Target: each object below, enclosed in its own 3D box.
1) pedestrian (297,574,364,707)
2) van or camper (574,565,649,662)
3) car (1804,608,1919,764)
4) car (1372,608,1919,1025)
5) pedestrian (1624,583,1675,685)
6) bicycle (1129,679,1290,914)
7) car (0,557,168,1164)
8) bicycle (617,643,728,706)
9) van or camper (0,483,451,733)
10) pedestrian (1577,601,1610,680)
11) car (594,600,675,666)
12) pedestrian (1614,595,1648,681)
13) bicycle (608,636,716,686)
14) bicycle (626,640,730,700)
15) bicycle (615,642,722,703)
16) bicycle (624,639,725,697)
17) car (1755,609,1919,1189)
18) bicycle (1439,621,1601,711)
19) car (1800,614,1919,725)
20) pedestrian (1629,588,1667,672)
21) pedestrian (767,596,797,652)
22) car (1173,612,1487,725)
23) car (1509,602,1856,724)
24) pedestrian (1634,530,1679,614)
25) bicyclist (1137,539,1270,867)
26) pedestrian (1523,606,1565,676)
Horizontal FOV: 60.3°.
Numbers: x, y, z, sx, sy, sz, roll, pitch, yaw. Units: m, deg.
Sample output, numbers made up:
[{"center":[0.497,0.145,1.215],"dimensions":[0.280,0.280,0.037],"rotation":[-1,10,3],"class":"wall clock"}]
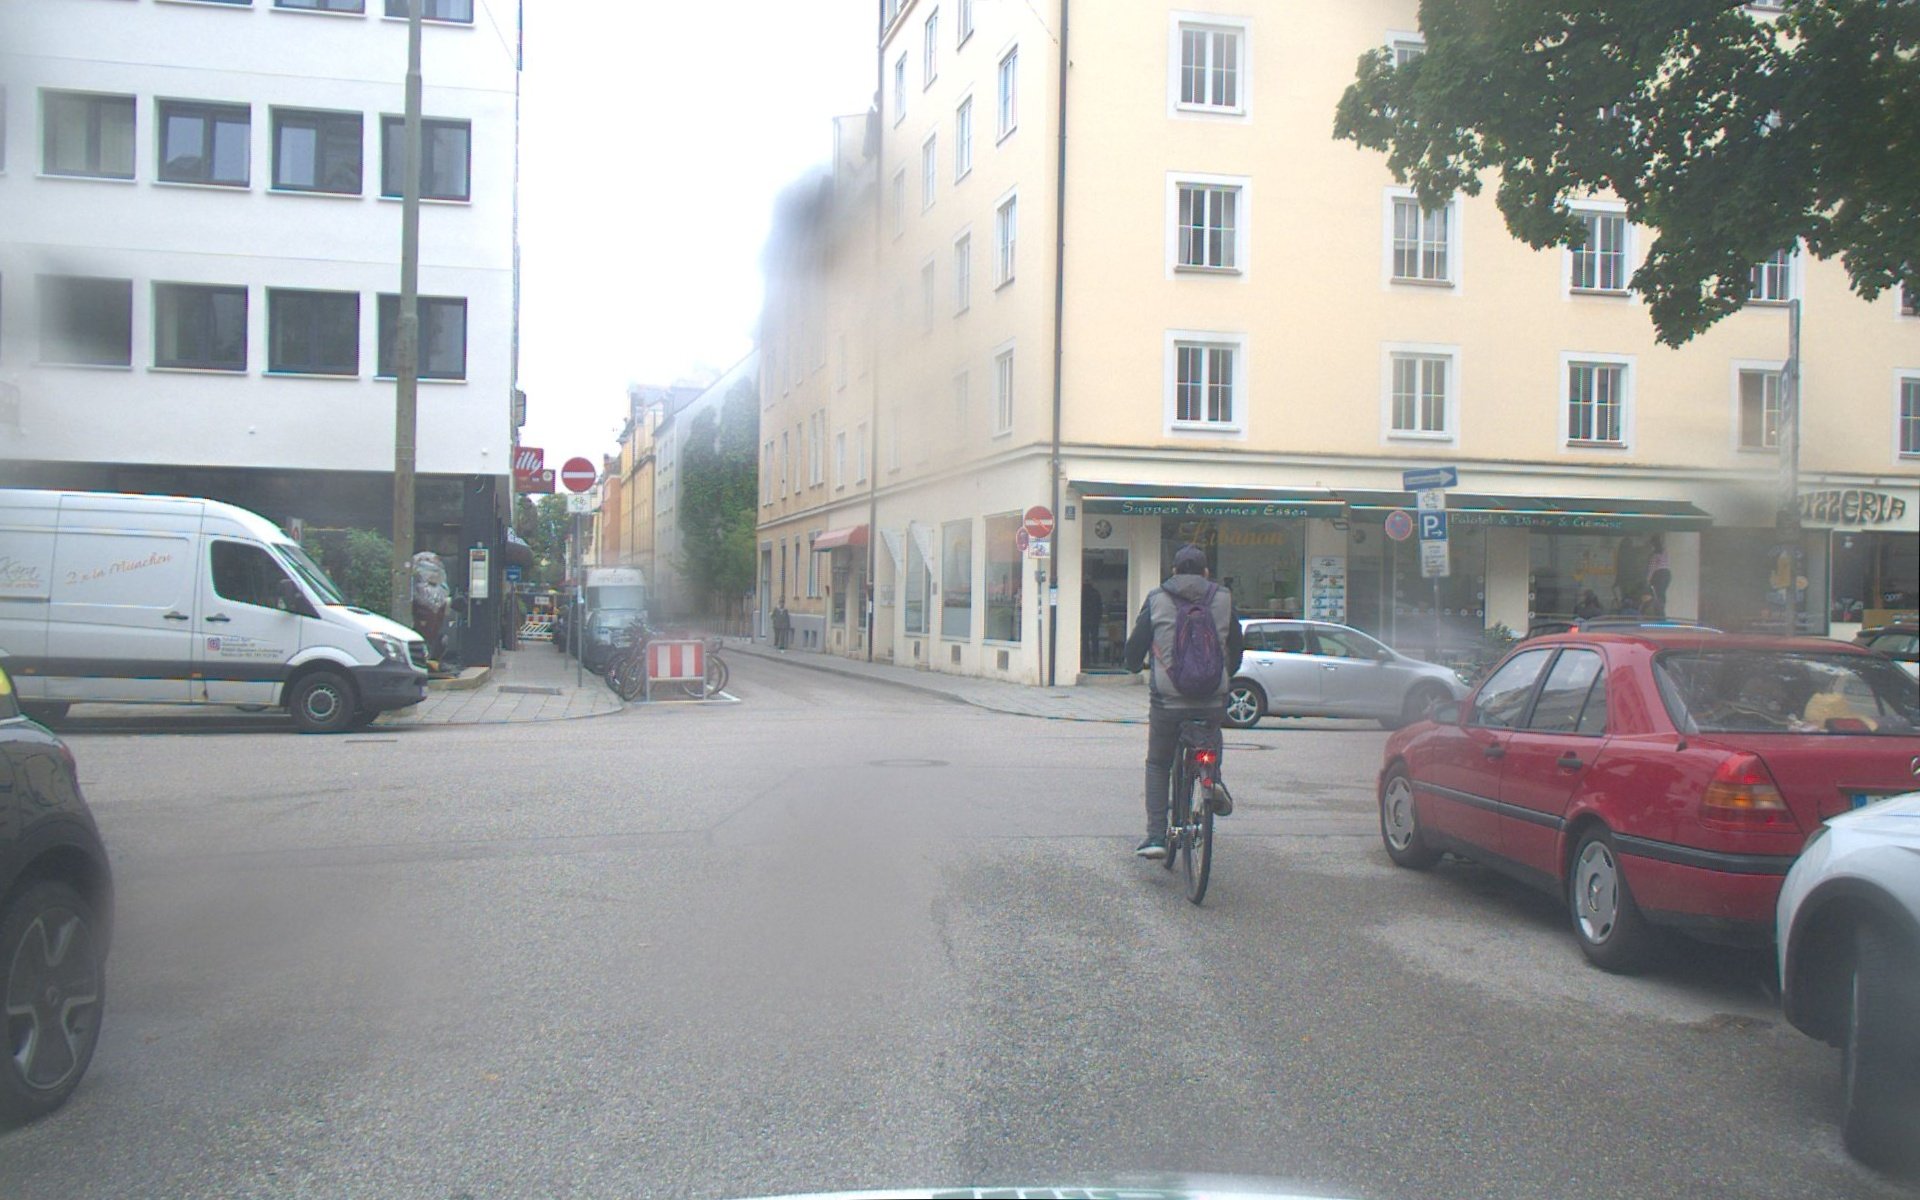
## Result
[{"center":[-8.839,0.566,23.220],"dimensions":[0.768,1.814,0.614],"rotation":[2,1,-27],"class":"pedestrian"},{"center":[-9.793,0.365,46.382],"dimensions":[1.959,2.584,4.745],"rotation":[0,0,-13],"class":"van or camper"},{"center":[10.953,0.871,17.532],"dimensions":[3.260,1.513,1.624],"rotation":[0,1,-10],"class":"car"},{"center":[3.452,0.804,8.109],"dimensions":[1.636,1.460,4.211],"rotation":[1,0,-3],"class":"car"},{"center":[11.908,0.583,28.587],"dimensions":[0.591,1.731,0.542],"rotation":[0,1,-11],"class":"pedestrian"},{"center":[1.253,0.961,8.561],"dimensions":[0.626,1.022,1.574],"rotation":[0,0,1],"class":"bicycle"},{"center":[-3.392,0.713,3.409],"dimensions":[1.642,1.625,3.944],"rotation":[-2,0,-1],"class":"car"},{"center":[-4.712,1.204,27.092],"dimensions":[1.727,0.985,0.592],"rotation":[0,0,-18],"class":"bicycle"},{"center":[-9.064,0.119,19.223],"dimensions":[5.798,2.724,1.868],"rotation":[0,-2,-11],"class":"van or camper"},{"center":[11.884,0.758,31.024],"dimensions":[0.502,1.458,0.582],"rotation":[0,0,29],"class":"pedestrian"},{"center":[-8.101,0.780,40.916],"dimensions":[1.801,1.562,3.986],"rotation":[0,0,-14],"class":"car"},{"center":[12.601,0.706,31.046],"dimensions":[0.545,1.564,0.434],"rotation":[1,2,25],"class":"pedestrian"},{"center":[-5.438,1.109,30.184],"dimensions":[1.882,0.878,0.615],"rotation":[0,0,-19],"class":"bicycle"},{"center":[-4.848,1.198,28.470],"dimensions":[1.709,0.985,0.540],"rotation":[0,0,-18],"class":"bicycle"},{"center":[-4.893,1.200,27.754],"dimensions":[1.709,0.985,0.540],"rotation":[0,0,-18],"class":"bicycle"},{"center":[-5.019,1.190,29.072],"dimensions":[1.709,0.985,0.540],"rotation":[0,0,-18],"class":"bicycle"},{"center":[3.501,0.800,3.265],"dimensions":[1.716,1.522,3.905],"rotation":[1,0,-5],"class":"car"},{"center":[8.526,0.997,25.244],"dimensions":[2.045,1.275,1.104],"rotation":[1,1,-11],"class":"bicycle"},{"center":[14.772,1.031,24.207],"dimensions":[4.260,1.529,1.815],"rotation":[1,-3,-13],"class":"car"},{"center":[13.157,0.567,31.630],"dimensions":[0.428,1.578,0.529],"rotation":[0,0,-30],"class":"pedestrian"},{"center":[-5.769,0.774,53.534],"dimensions":[0.862,1.809,0.771],"rotation":[0,0,-14],"class":"pedestrian"},{"center":[5.017,0.966,22.800],"dimensions":[3.906,1.441,1.820],"rotation":[1,-4,-1],"class":"car"},{"center":[10.133,0.894,23.298],"dimensions":[4.260,1.620,1.815],"rotation":[1,-2,-13],"class":"car"},{"center":[13.591,-0.543,32.286],"dimensions":[0.542,1.602,0.576],"rotation":[2,-1,-12],"class":"pedestrian"},{"center":[1.252,0.510,8.616],"dimensions":[0.593,1.635,0.757],"rotation":[0,0,1],"class":"bicyclist"},{"center":[11.241,0.787,31.831],"dimensions":[0.507,1.319,0.576],"rotation":[1,0,-33],"class":"pedestrian"}]
